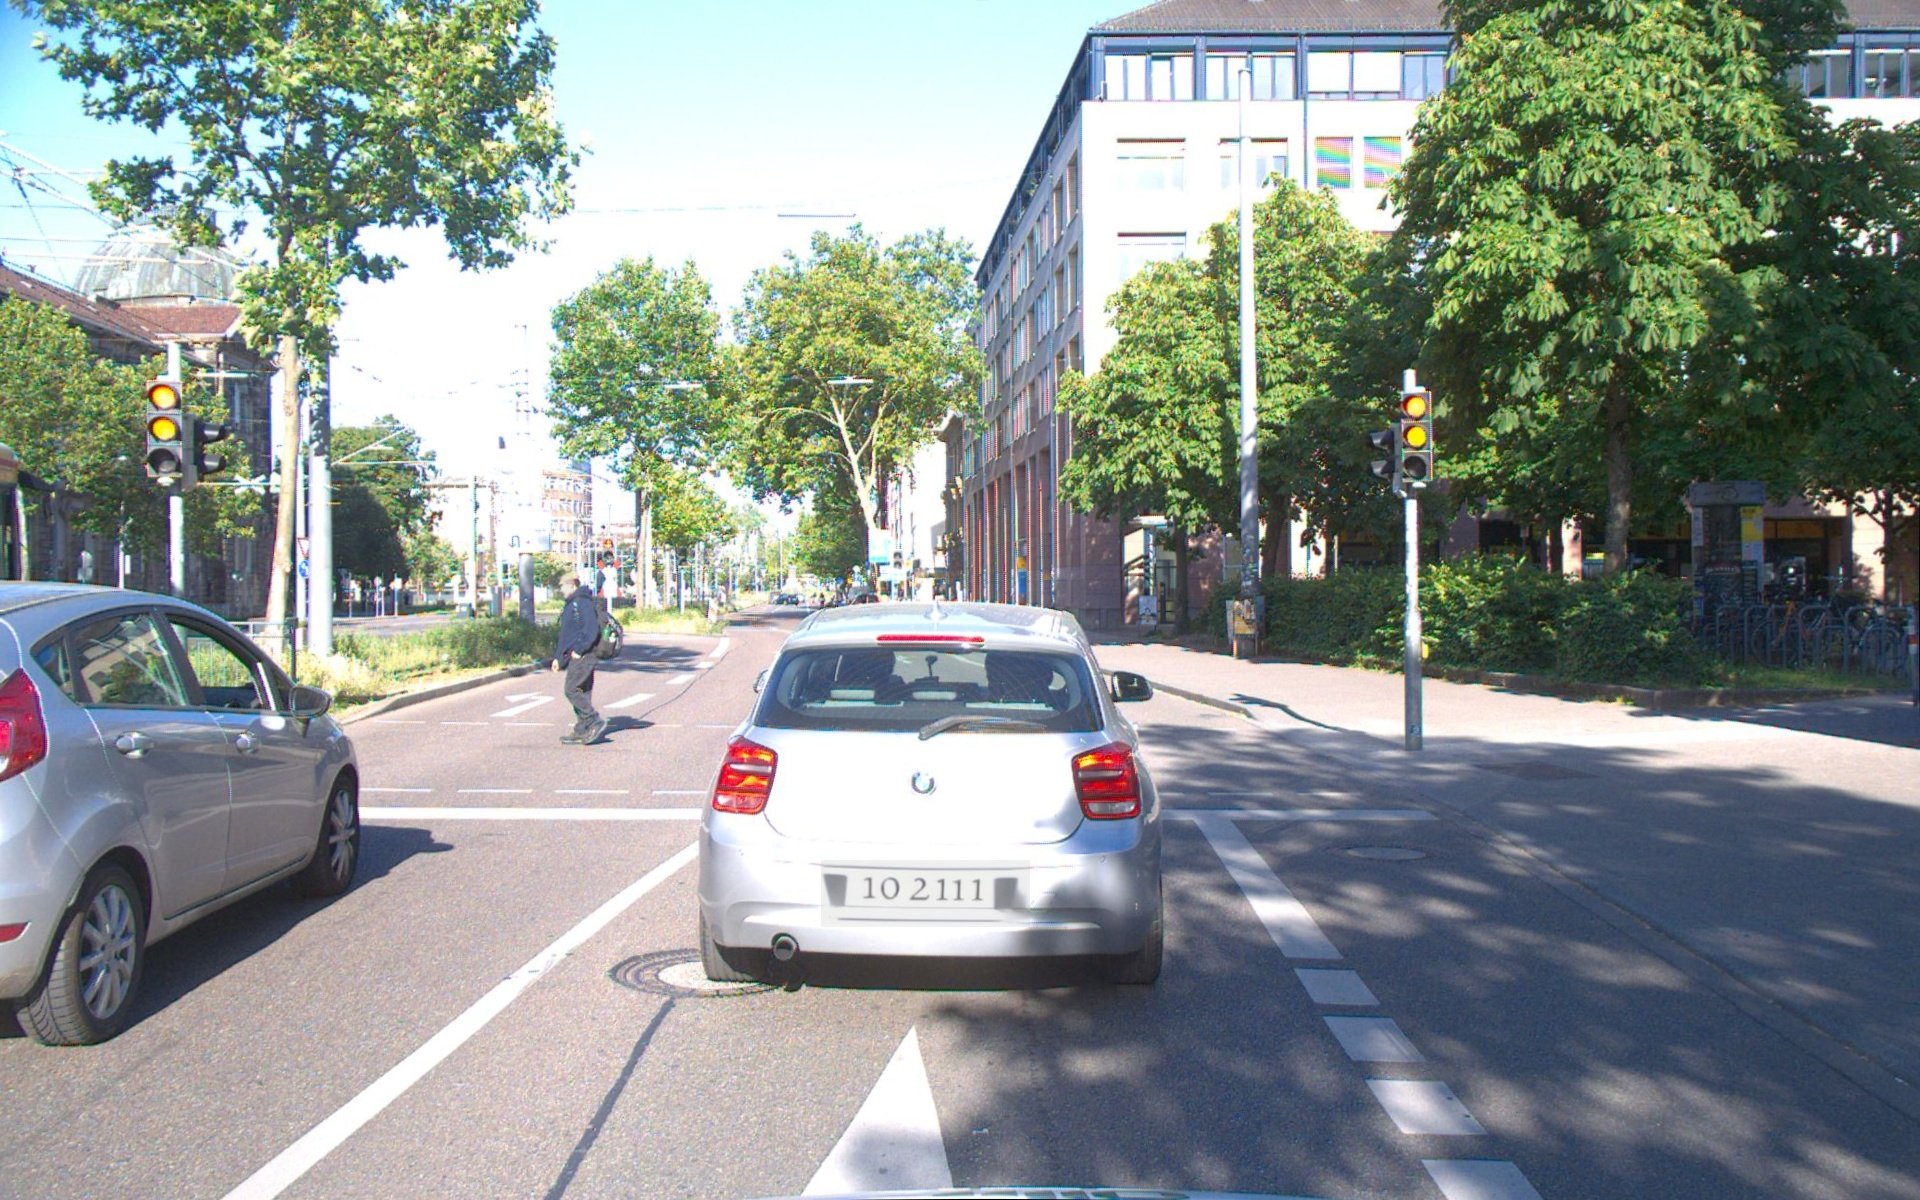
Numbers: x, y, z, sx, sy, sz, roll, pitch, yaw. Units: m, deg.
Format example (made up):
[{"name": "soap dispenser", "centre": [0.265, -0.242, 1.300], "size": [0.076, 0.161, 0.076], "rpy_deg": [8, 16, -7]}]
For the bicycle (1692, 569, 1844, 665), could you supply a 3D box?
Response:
[{"name": "bicycle", "centre": [12.034, 0.247, 24.651], "size": [1.956, 1.337, 0.574], "rpy_deg": [-2, 0, -2]}]

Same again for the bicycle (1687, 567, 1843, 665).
[{"name": "bicycle", "centre": [11.678, 0.229, 24.022], "size": [1.956, 1.337, 0.574], "rpy_deg": [-2, 0, -2]}]

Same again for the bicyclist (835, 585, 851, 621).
[{"name": "bicyclist", "centre": [-5.596, 0.152, 79.277], "size": [0.644, 1.686, 0.765], "rpy_deg": [-1, 0, 3]}]

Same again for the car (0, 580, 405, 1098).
[{"name": "car", "centre": [-3.483, 0.656, 6.347], "size": [1.627, 1.434, 3.630], "rpy_deg": [1, 0, -3]}]

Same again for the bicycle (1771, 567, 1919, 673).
[{"name": "bicycle", "centre": [12.053, 0.259, 22.290], "size": [1.956, 1.337, 0.574], "rpy_deg": [-2, 0, -2]}]

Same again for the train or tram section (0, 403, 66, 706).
[{"name": "train or tram section", "centre": [-11.429, -0.583, 12.985], "size": [2.858, 3.317, 13.095], "rpy_deg": [1, -1, -6]}]

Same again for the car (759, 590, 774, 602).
[{"name": "car", "centre": [-26.105, -0.558, 222.662], "size": [1.956, 1.512, 3.993], "rpy_deg": [0, 0, -7]}]

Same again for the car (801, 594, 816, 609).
[{"name": "car", "centre": [-22.611, 0.241, 246.955], "size": [1.953, 2.049, 3.999], "rpy_deg": [1, -1, 0]}]

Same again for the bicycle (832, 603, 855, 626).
[{"name": "bicycle", "centre": [-5.596, 0.685, 79.323], "size": [0.814, 1.059, 1.875], "rpy_deg": [-1, 0, 4]}]

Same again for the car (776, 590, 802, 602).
[{"name": "car", "centre": [-21.385, -0.521, 206.821], "size": [1.972, 1.512, 3.962], "rpy_deg": [-1, 0, -29]}]

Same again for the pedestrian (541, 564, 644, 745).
[{"name": "pedestrian", "centre": [-3.463, 0.503, 15.592], "size": [0.925, 1.657, 0.626], "rpy_deg": [0, 0, -14]}]

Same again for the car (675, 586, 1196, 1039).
[{"name": "car", "centre": [-0.006, 0.678, 7.358], "size": [1.694, 1.414, 3.841], "rpy_deg": [1, 1, 2]}]
